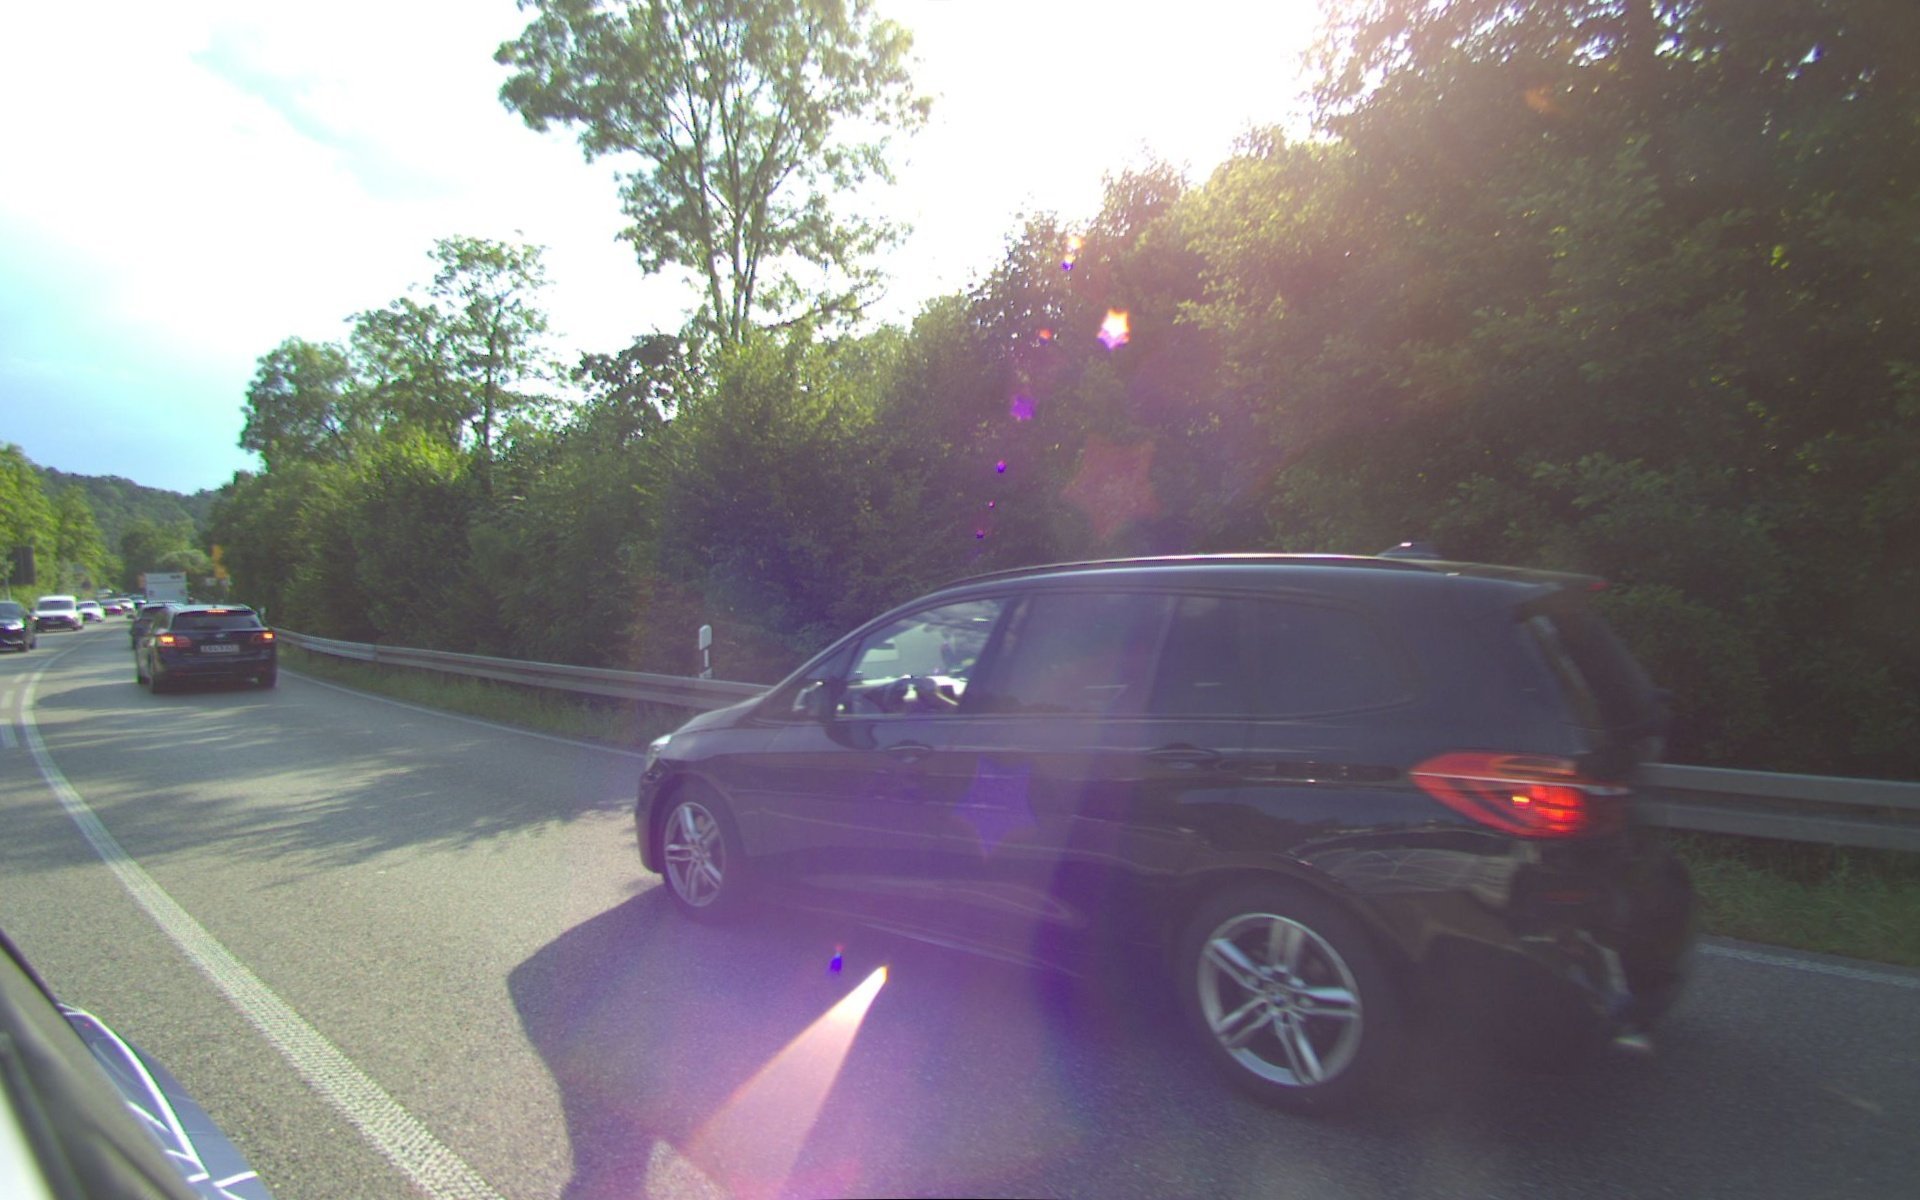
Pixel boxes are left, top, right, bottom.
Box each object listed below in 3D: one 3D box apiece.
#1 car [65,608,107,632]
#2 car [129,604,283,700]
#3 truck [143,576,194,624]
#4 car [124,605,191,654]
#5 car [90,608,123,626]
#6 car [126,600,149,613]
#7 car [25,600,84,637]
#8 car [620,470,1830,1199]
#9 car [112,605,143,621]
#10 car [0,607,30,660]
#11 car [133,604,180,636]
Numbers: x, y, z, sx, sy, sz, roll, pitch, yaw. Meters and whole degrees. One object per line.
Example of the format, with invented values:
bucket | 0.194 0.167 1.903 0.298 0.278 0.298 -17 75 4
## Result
car | -59.453 1.333 68.886 1.868 1.456 4.485 -4 2 -38
car | -13.734 0.858 18.330 1.828 1.519 4.408 0 -1 -42
truck | -53.603 -0.041 68.633 2.423 3.095 6.279 -1 1 -36
car | -26.298 0.920 33.249 1.639 1.456 3.930 -1 1 -37
car | -75.062 1.468 89.017 1.831 1.431 4.429 -4 2 -36
car | -93.938 0.742 115.641 1.867 1.456 4.485 -1 1 -37
car | -45.858 0.895 51.351 1.839 1.733 4.773 -4 2 -38
car | 0.648 0.569 4.088 4.243 1.601 1.849 -1 -1 39
car | -83.913 1.293 102.018 1.885 1.476 4.549 -4 2 -34
car | -30.466 1.032 31.566 1.820 1.581 4.265 -1 1 -39
car | -39.882 0.967 50.246 1.769 1.456 3.801 -1 1 -39
